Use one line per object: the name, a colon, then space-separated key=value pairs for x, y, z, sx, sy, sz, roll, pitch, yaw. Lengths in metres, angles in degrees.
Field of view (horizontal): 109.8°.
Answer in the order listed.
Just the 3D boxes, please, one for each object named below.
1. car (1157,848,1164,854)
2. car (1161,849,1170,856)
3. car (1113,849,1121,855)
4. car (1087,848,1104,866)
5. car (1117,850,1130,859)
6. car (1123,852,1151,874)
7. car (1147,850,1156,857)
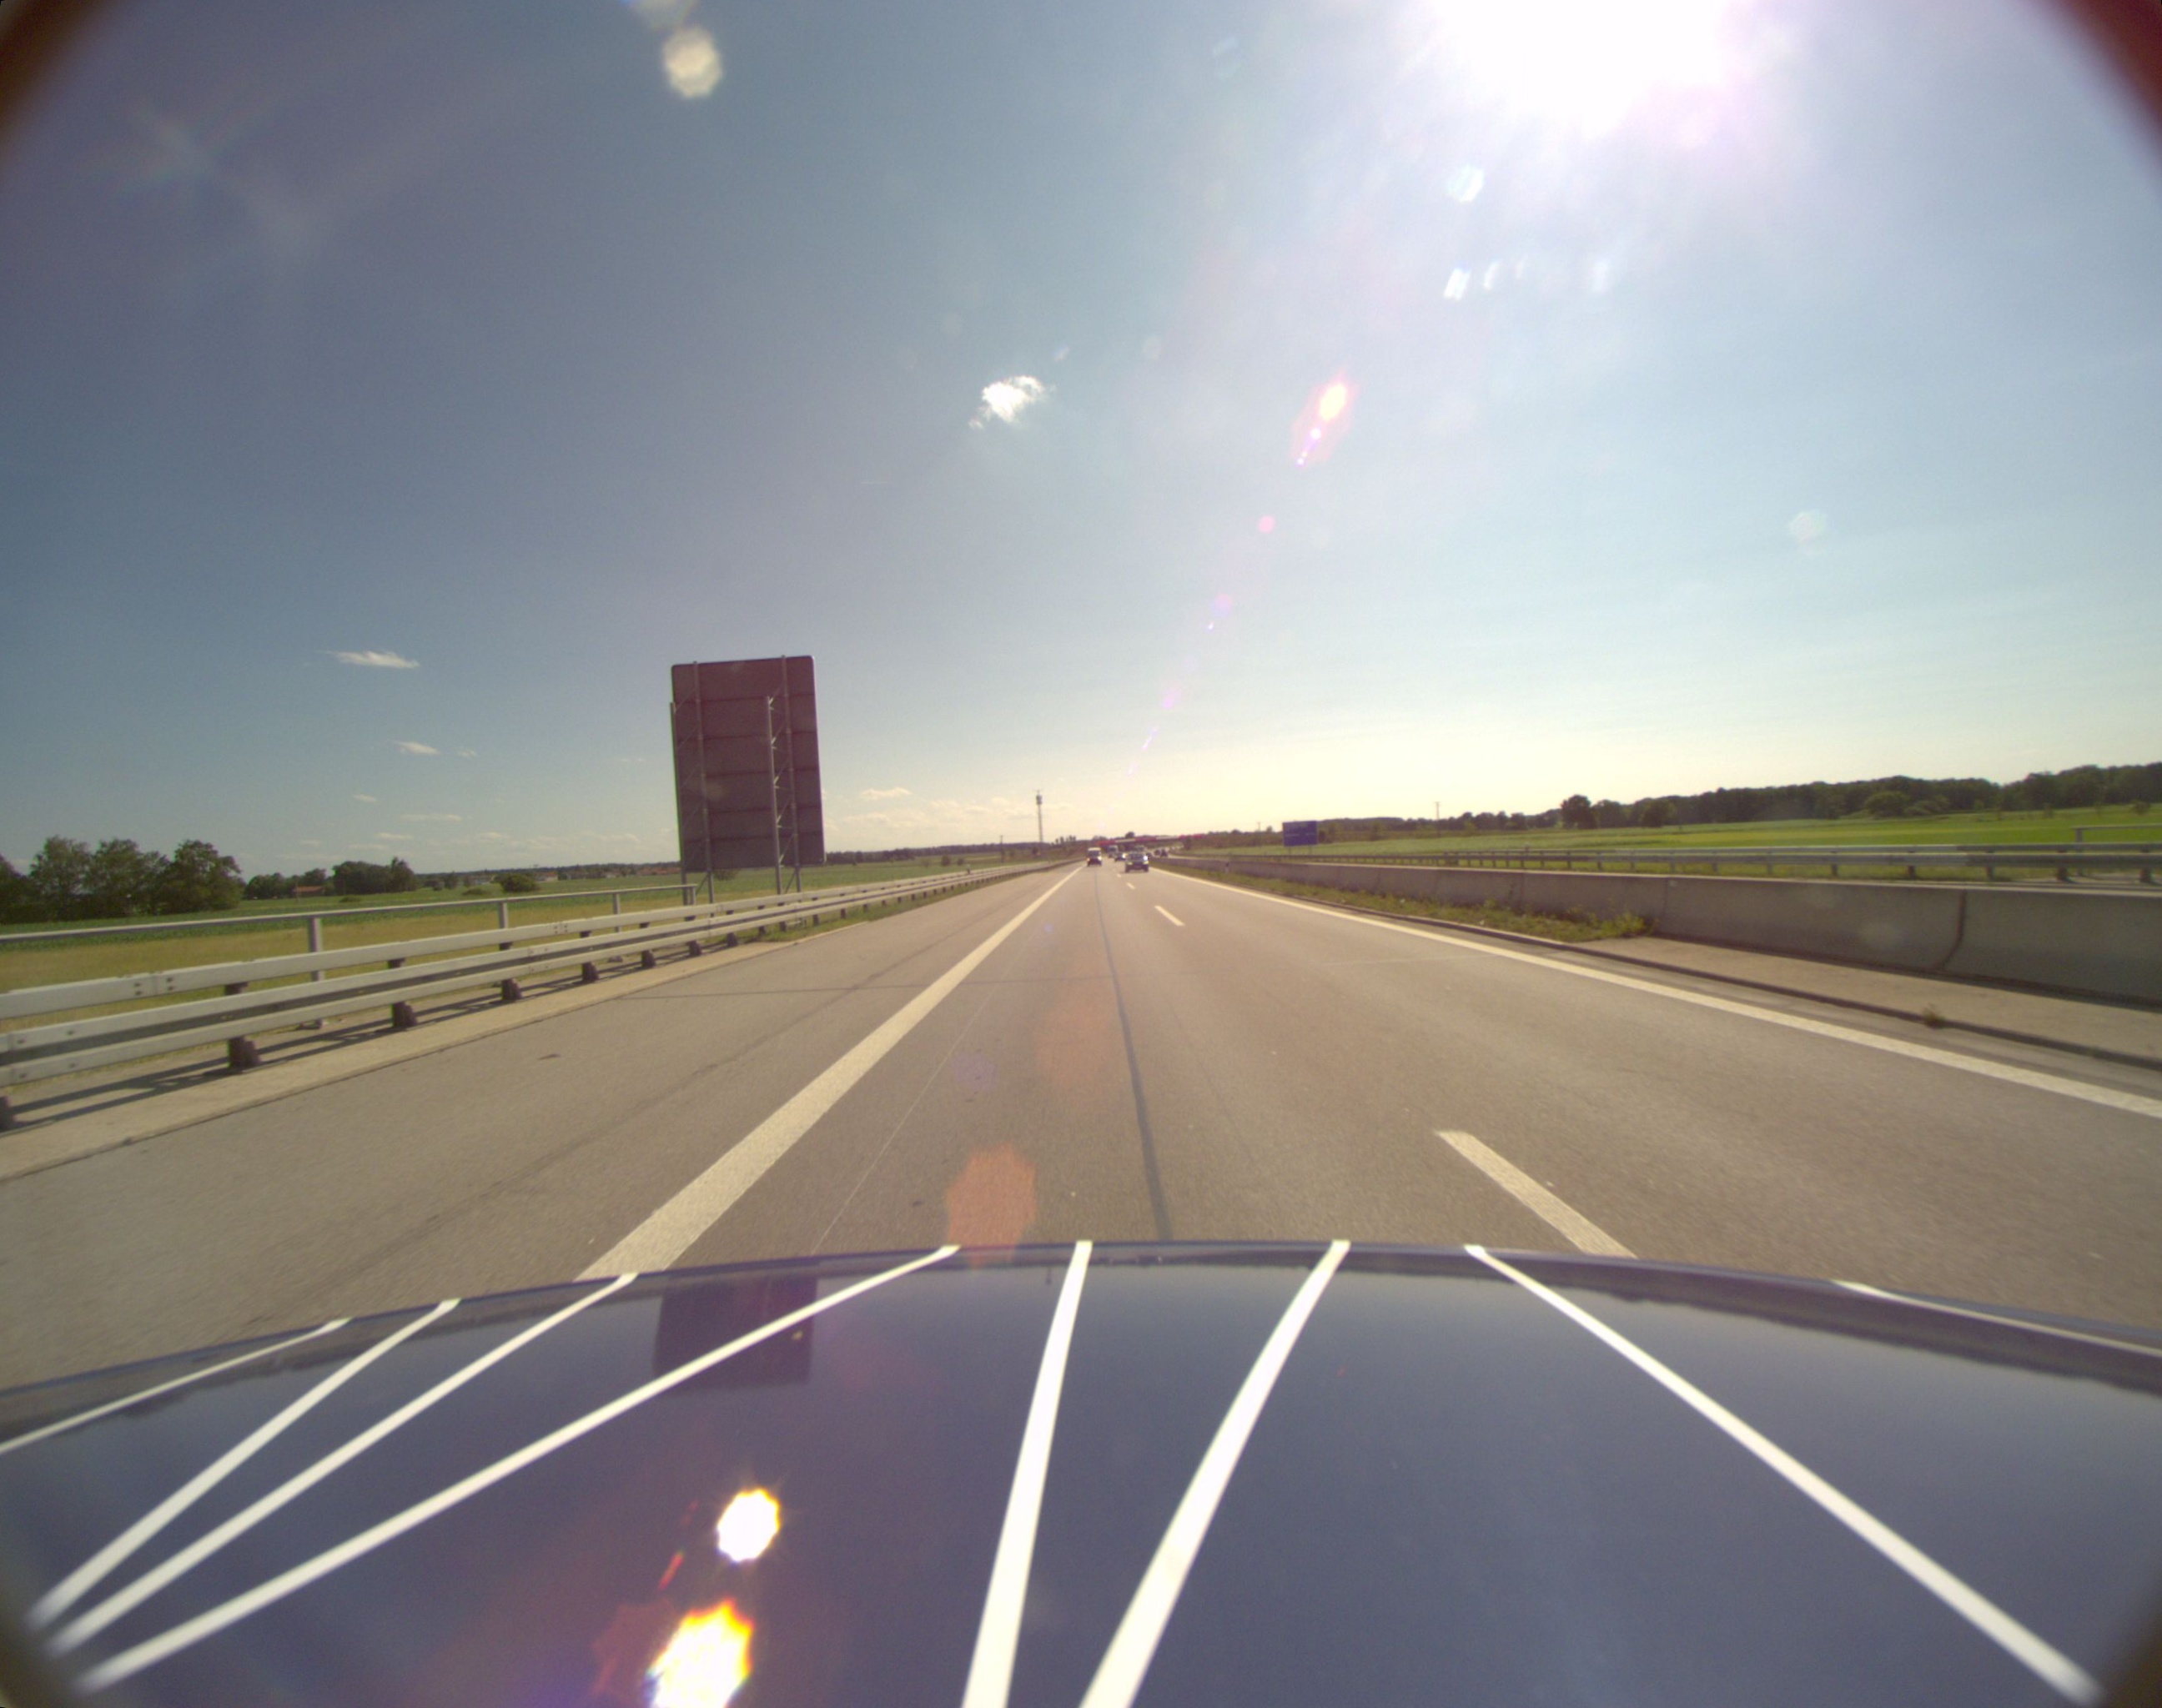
car: x=24.080 y=-0.983 z=231.195 sx=1.958 sy=1.831 sz=5.451 roll=-2 pitch=0 yaw=4
car: x=20.966 y=-0.417 z=188.309 sx=1.902 sy=1.514 sz=4.806 roll=-2 pitch=0 yaw=2
car: x=10.694 y=-0.538 z=226.024 sx=2.030 sy=1.600 sz=4.818 roll=-4 pitch=0 yaw=2
car: x=1.999 y=0.370 z=100.911 sx=2.030 sy=2.225 sz=4.818 roll=-2 pitch=1 yaw=3
car: x=7.787 y=0.089 z=139.828 sx=2.030 sy=1.600 sz=4.817 roll=-4 pitch=1 yaw=1
car: x=4.616 y=0.709 z=63.271 sx=2.030 sy=1.600 sz=4.818 roll=-3 pitch=1 yaw=2
car: x=16.307 y=-0.165 z=175.738 sx=1.902 sy=1.514 sz=4.806 roll=-2 pitch=0 yaw=2
